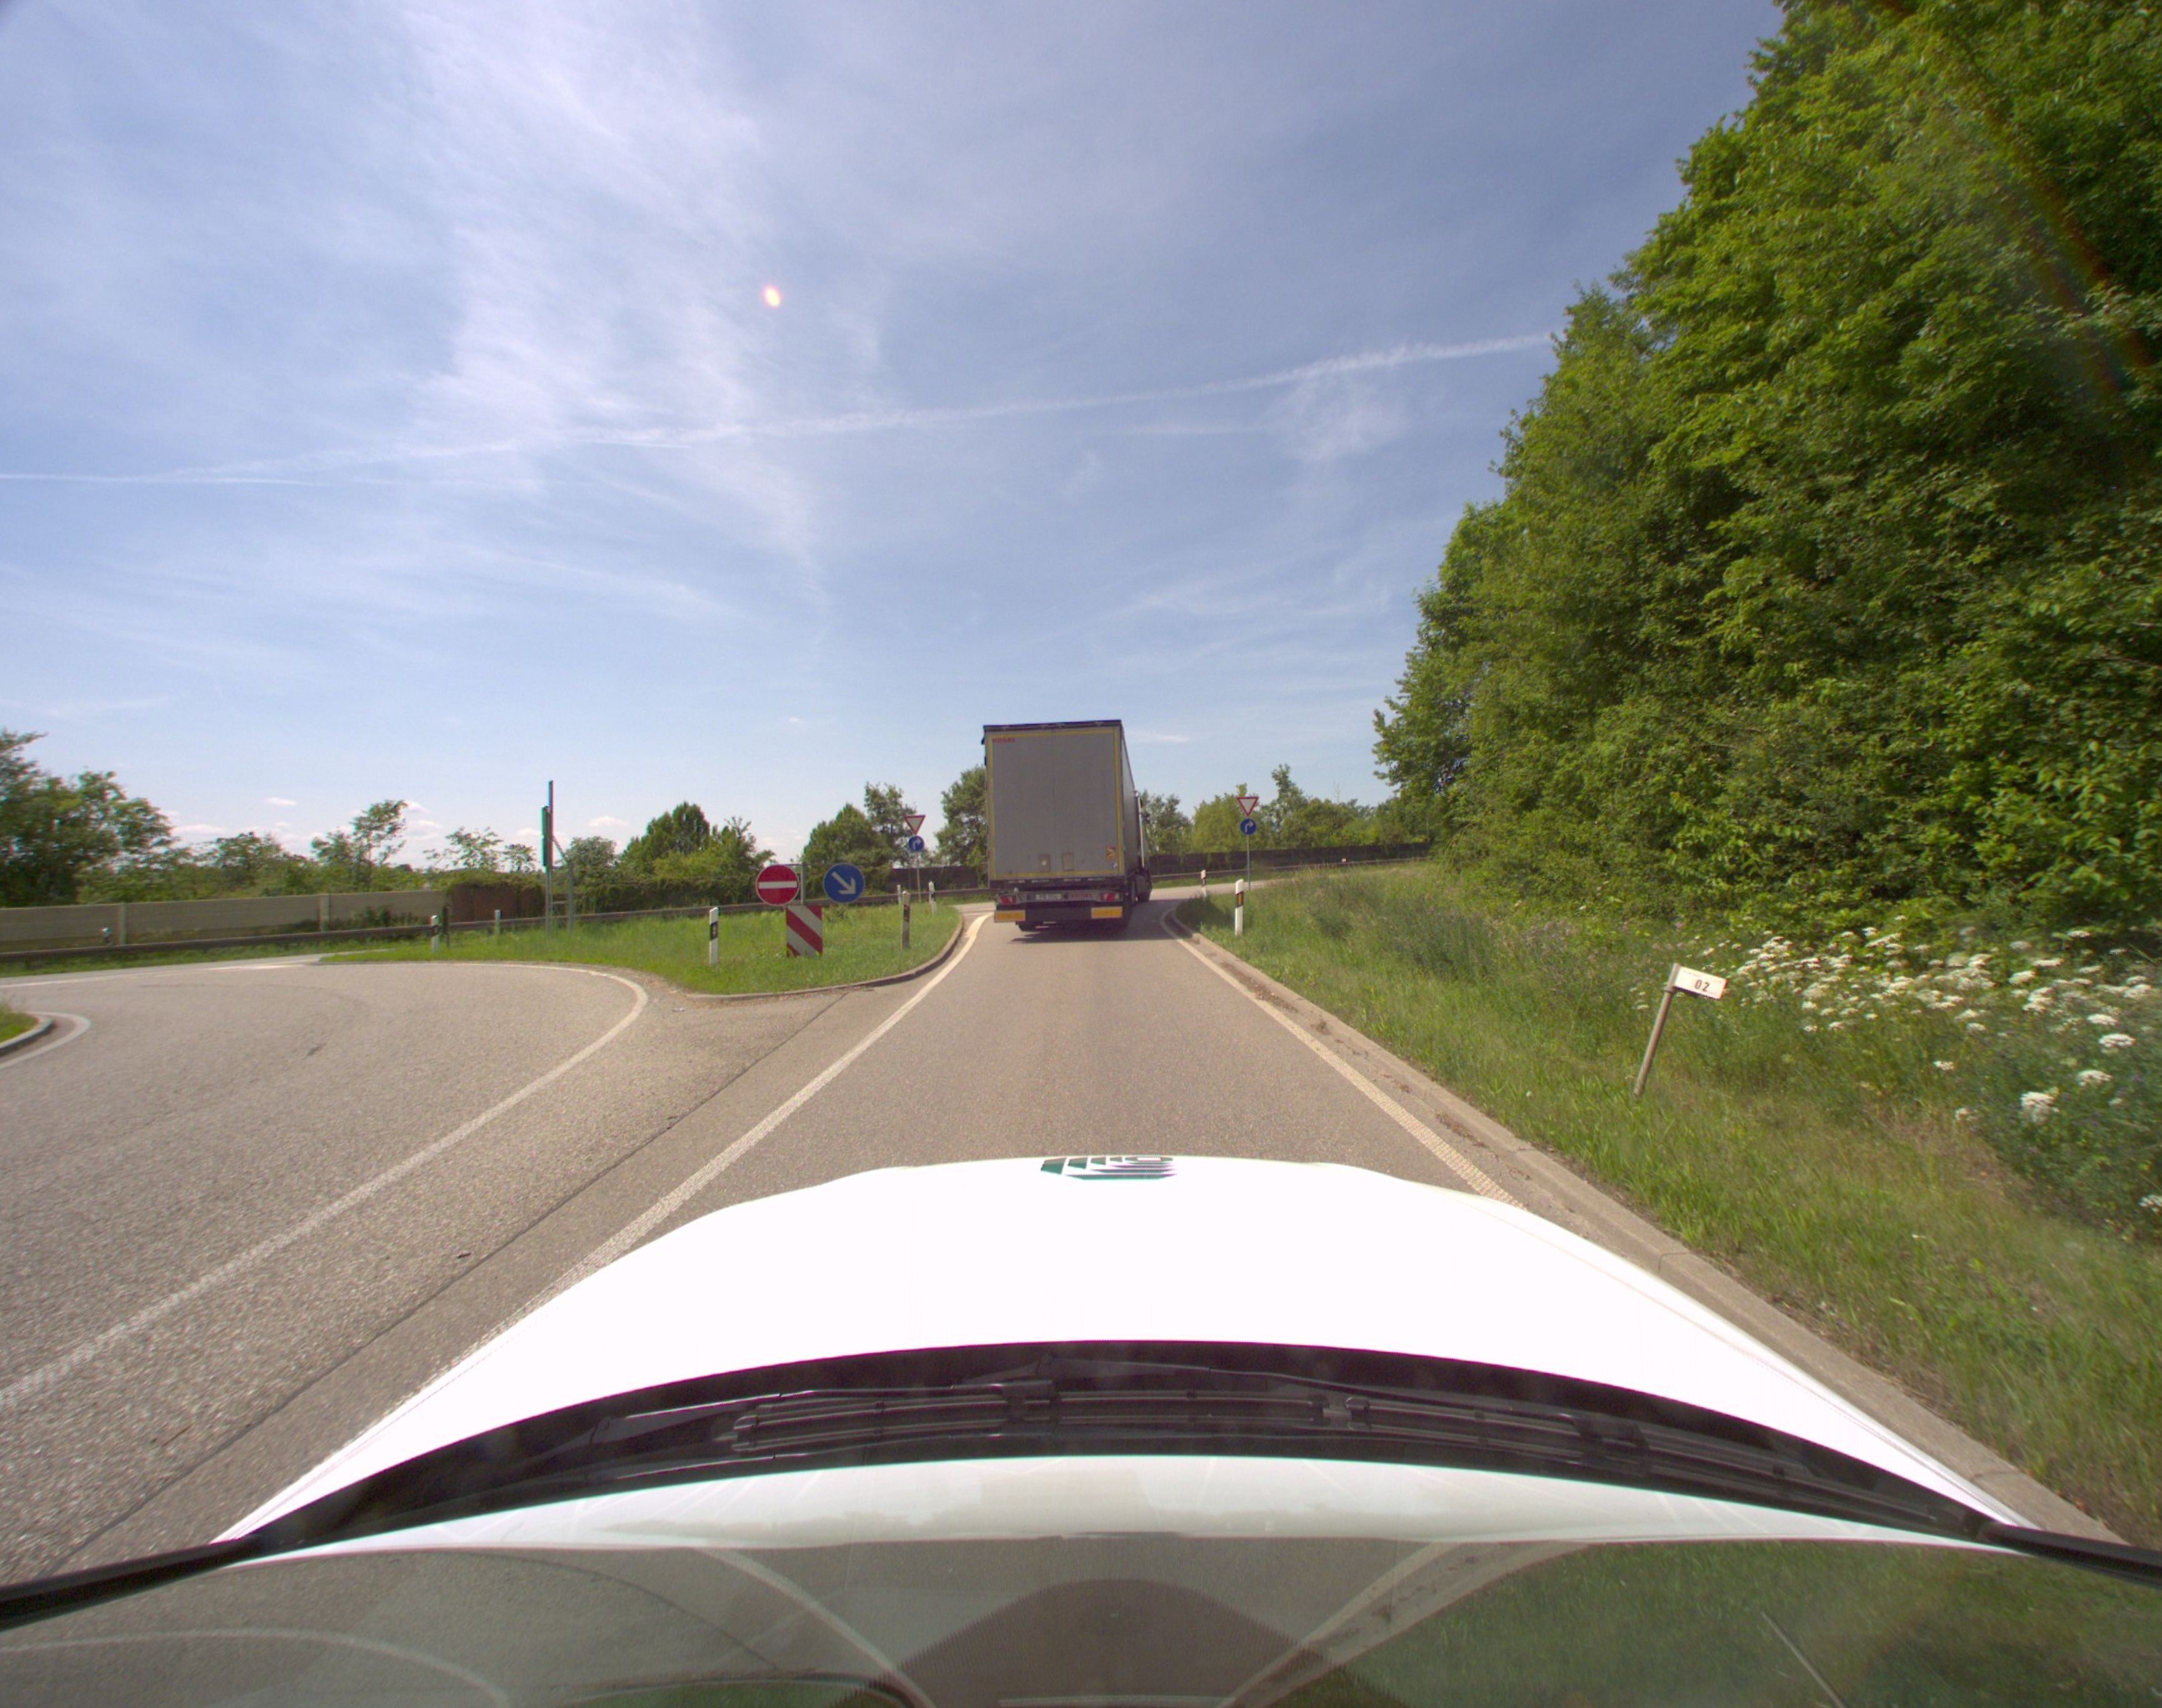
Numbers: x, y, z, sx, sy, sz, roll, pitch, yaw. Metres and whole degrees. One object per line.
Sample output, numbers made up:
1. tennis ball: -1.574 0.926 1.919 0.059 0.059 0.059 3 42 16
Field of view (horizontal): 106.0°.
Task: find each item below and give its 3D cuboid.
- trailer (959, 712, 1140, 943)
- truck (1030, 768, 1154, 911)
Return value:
1. trailer: -0.097 -0.382 21.325 3.013 4.035 13.367 -2 -1 5
2. truck: 0.626 -0.358 28.335 3.134 4.225 7.139 -3 -2 9
